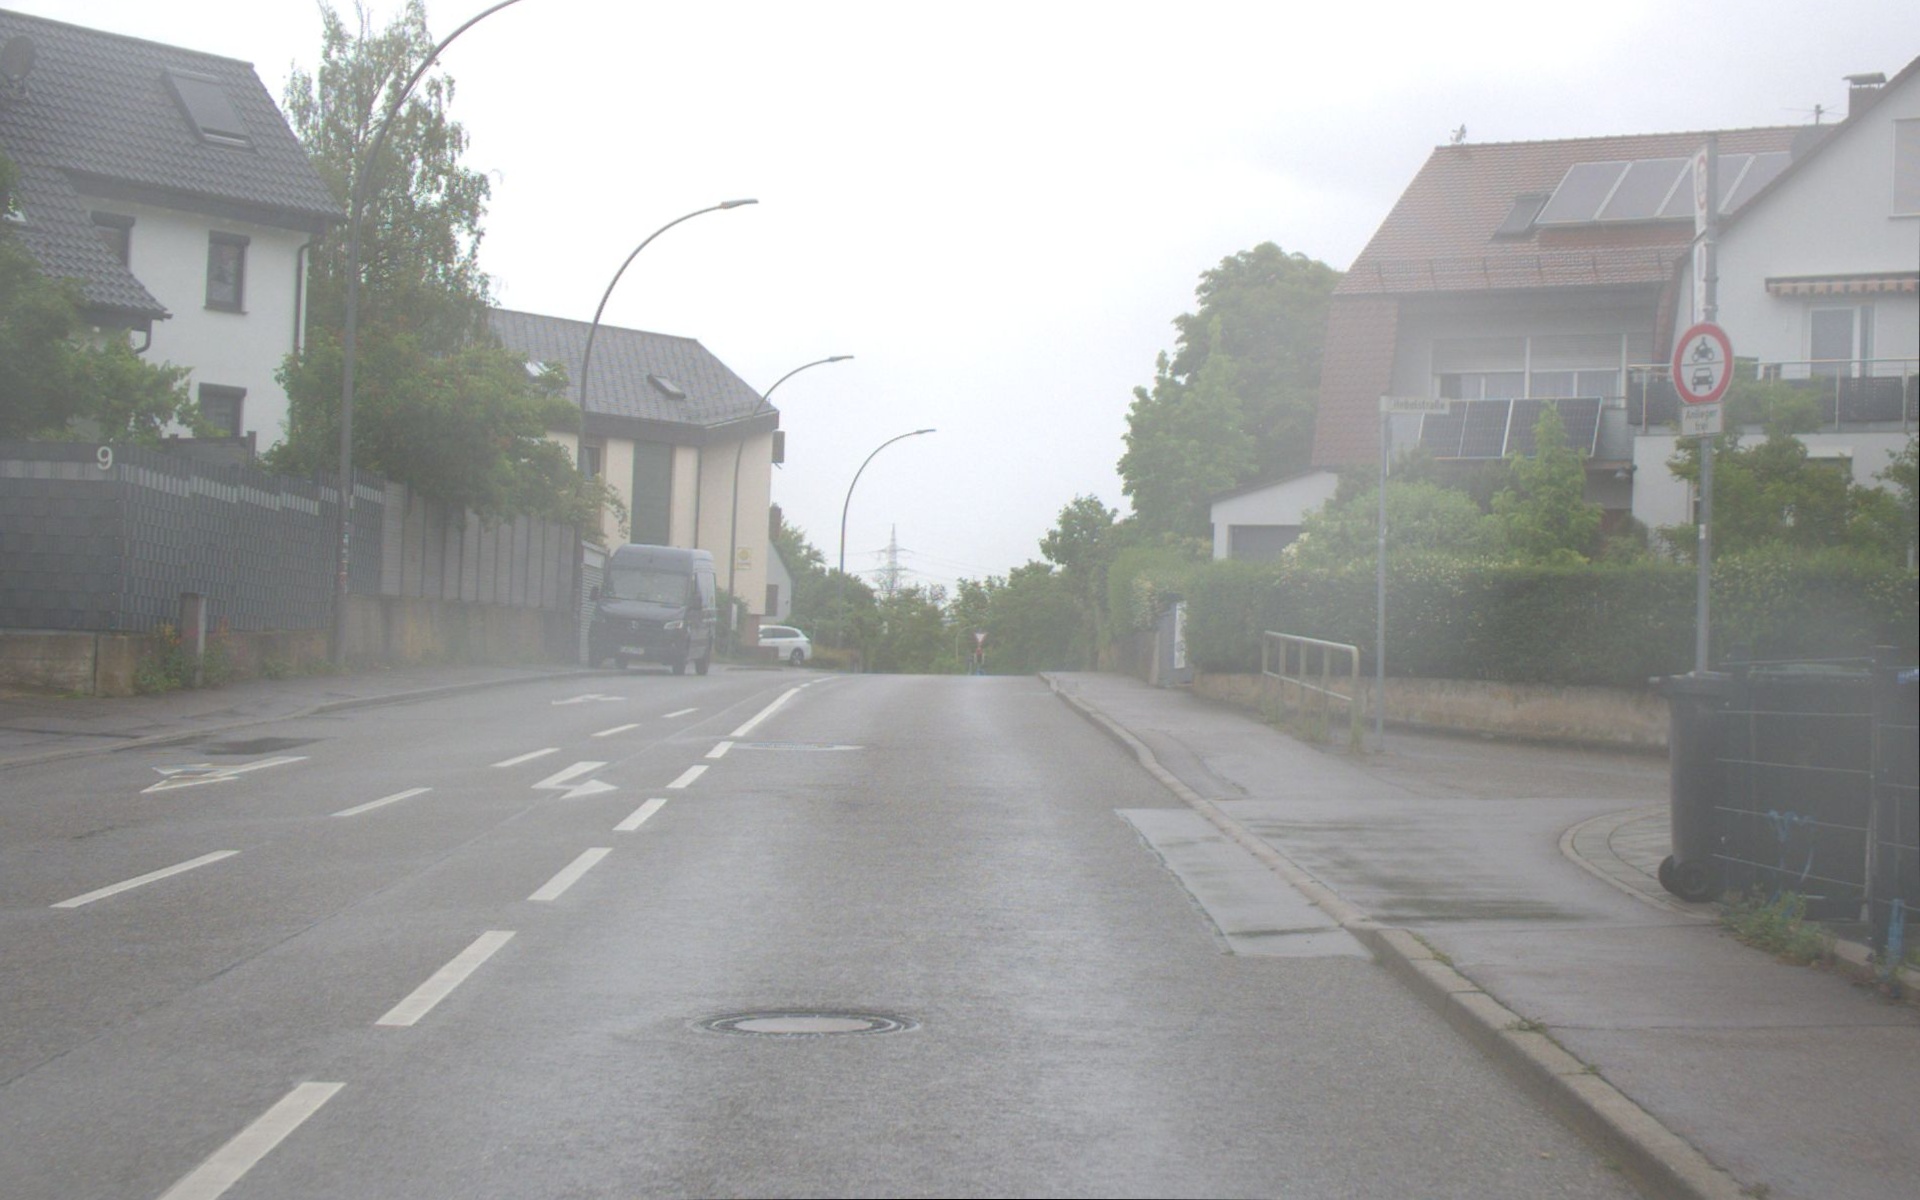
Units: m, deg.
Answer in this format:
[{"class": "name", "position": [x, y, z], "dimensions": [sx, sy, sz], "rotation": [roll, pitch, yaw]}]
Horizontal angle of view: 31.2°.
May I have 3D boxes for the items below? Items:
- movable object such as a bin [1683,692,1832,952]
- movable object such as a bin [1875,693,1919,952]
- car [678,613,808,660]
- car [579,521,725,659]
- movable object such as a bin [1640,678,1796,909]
[{"class": "movable object such as a bin", "position": [3.331, 0.909, 14.338], "dimensions": [0.530, 1.018, 0.732], "rotation": [0, 0, 19]}, {"class": "movable object such as a bin", "position": [3.974, 0.901, 14.051], "dimensions": [0.443, 1.018, 0.524], "rotation": [0, 0, 15]}, {"class": "car", "position": [-7.789, 1.326, 123.700], "dimensions": [1.905, 1.472, 4.871], "rotation": [3, -1, 37]}, {"class": "car", "position": [-6.359, -0.165, 71.660], "dimensions": [2.094, 2.640, 5.917], "rotation": [3, -1, 3]}, {"class": "movable object such as a bin", "position": [3.468, 0.876, 15.759], "dimensions": [0.627, 1.018, 0.540], "rotation": [0, 0, 5]}]
